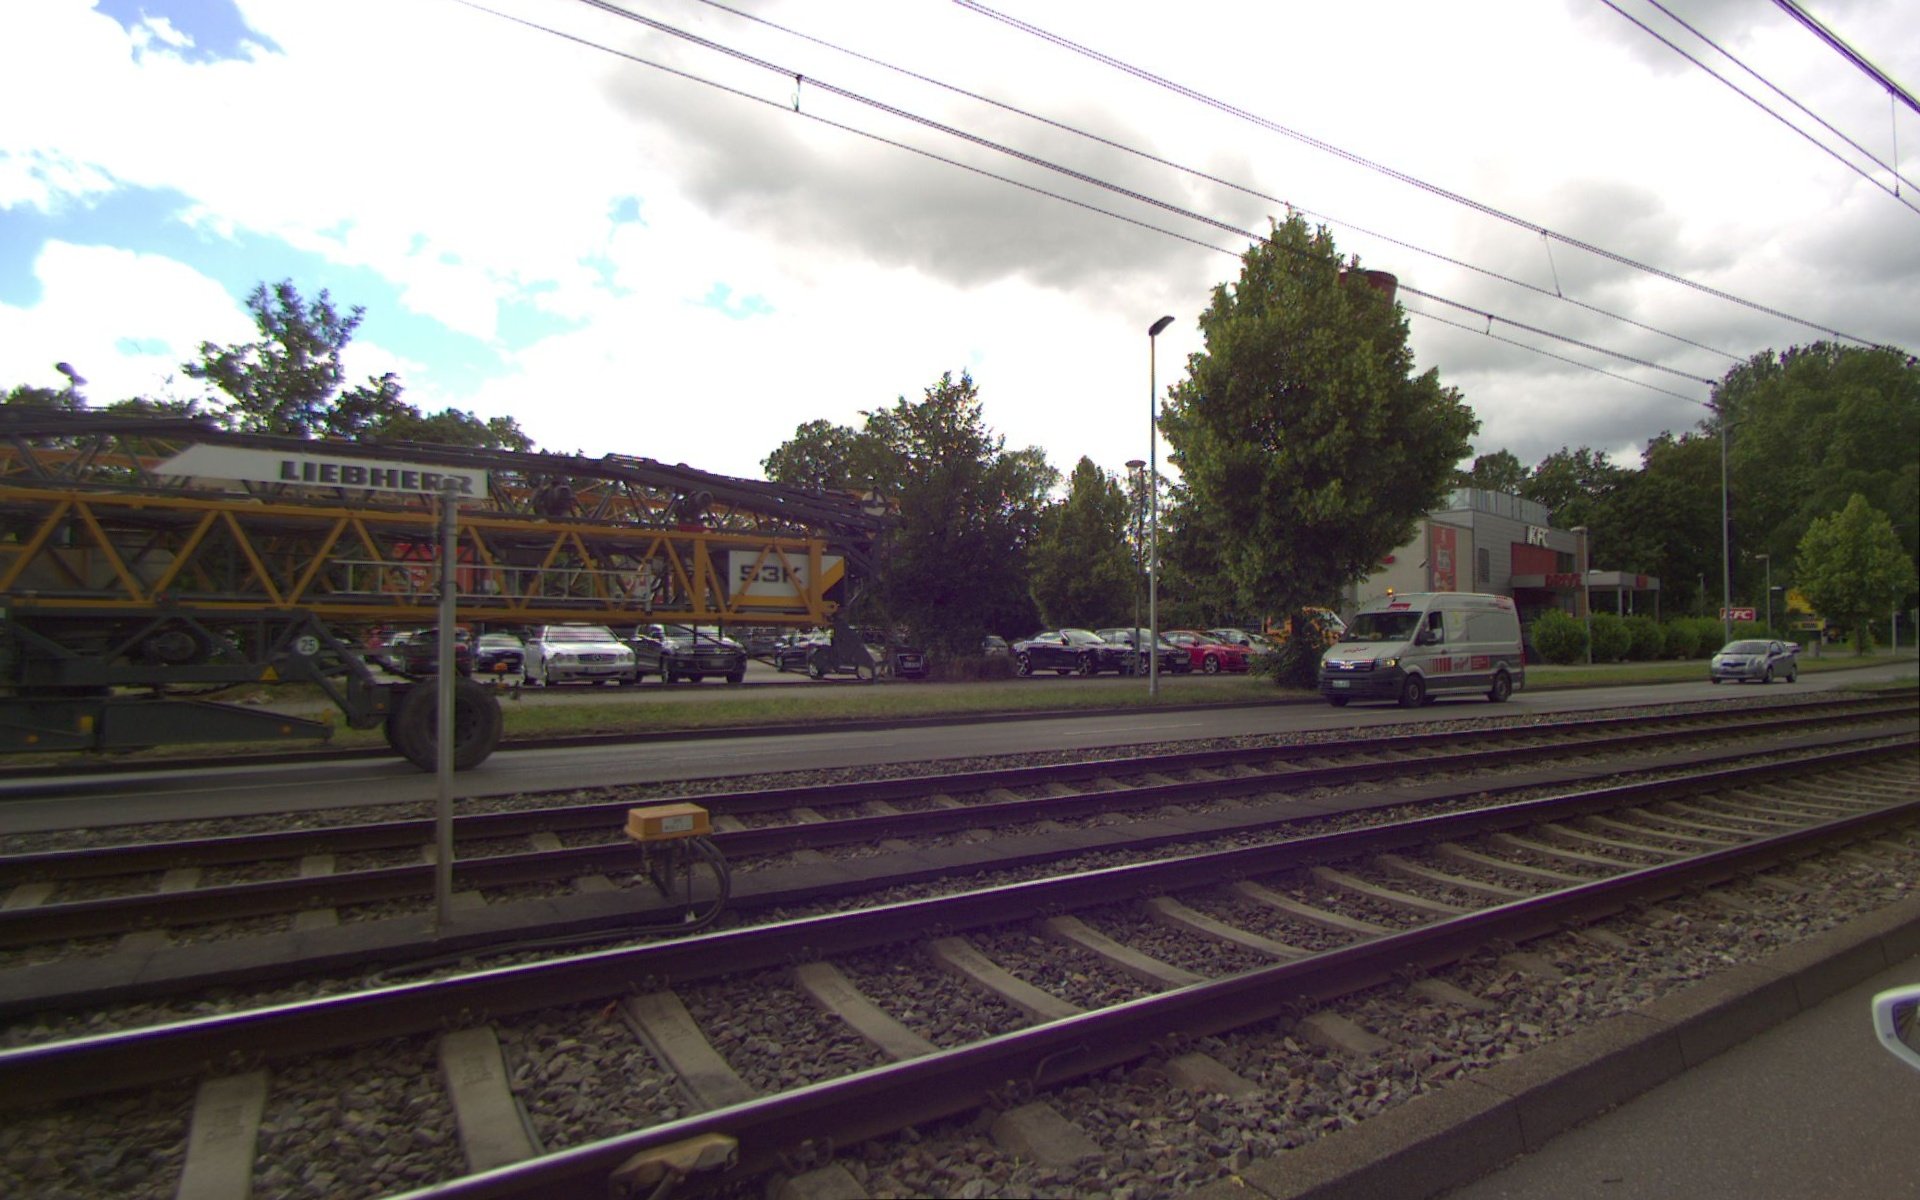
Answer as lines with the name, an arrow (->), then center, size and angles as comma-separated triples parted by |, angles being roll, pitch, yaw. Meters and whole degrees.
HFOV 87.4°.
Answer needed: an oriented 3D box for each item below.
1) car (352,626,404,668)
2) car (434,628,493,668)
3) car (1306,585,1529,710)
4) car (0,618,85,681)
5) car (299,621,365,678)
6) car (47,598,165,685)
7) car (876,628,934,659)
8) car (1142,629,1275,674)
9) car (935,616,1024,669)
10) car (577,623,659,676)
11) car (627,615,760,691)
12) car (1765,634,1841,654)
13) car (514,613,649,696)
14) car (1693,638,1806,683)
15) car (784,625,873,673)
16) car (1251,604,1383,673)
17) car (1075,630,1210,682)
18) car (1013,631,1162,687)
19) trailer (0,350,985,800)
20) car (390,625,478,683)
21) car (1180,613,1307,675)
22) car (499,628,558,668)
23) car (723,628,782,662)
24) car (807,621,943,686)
car -> -25.758, 2.054, 44.376 | 1.706, 1.644, 3.704 | 1, 0, -34
car -> -22.886, 2.170, 46.240 | 1.901, 1.644, 3.704 | 1, 0, -34
car -> 10.543, 1.085, 22.933 | 5.940, 2.531, 1.857 | 2, -4, -35
car -> -27.395, 1.426, 29.775 | 1.706, 1.644, 3.704 | 1, 0, -34
car -> -21.045, 1.606, 33.600 | 1.706, 1.644, 3.704 | 1, 0, -34
car -> -22.285, 1.031, 26.356 | 1.932, 2.040, 3.704 | 1, 0, -34
car -> -3.358, 2.597, 60.859 | 1.901, 1.644, 3.704 | 1, 0, -34
car -> 8.098, 1.651, 33.052 | 1.978, 1.252, 3.964 | 2, 0, -32
car -> 0.786, 1.766, 42.577 | 1.932, 2.040, 3.704 | 1, 0, -34
car -> -11.518, 1.632, 33.700 | 1.685, 1.669, 3.705 | 1, -3, -34
car -> -6.371, 1.176, 23.689 | 1.916, 1.527, 3.964 | 1, 0, -32
car -> 61.404, 3.169, 73.196 | 1.827, 1.426, 3.857 | 1, -2, -33
car -> -8.328, 1.120, 21.914 | 1.980, 1.527, 3.964 | 1, 0, -32
car -> 27.966, 2.147, 35.561 | 3.958, 1.502, 1.982 | 2, -4, -34
car -> -4.930, 1.810, 37.293 | 1.807, 1.669, 3.705 | 1, -3, -34
car -> 12.550, 1.313, 35.523 | 2.036, 2.194, 3.964 | 1, 0, -33
car -> 5.744, 1.737, 32.020 | 2.071, 1.385, 3.964 | 2, 0, -33
car -> 3.735, 1.709, 30.192 | 2.172, 1.372, 4.348 | 2, 0, -32
trailer -> -6.337, -0.080, 11.733 | 14.270, 3.947, 2.657 | 2, -4, -33
car -> -15.946, 1.573, 30.352 | 1.932, 1.510, 3.704 | 1, 0, -34
car -> 9.814, 1.487, 35.042 | 1.978, 1.944, 3.964 | 1, 0, -32
car -> -20.498, 2.236, 47.640 | 1.901, 1.644, 3.704 | 1, 0, -34
car -> -11.326, 2.425, 54.668 | 1.901, 1.644, 3.704 | 1, 0, -34
car -> -2.295, 1.335, 26.275 | 1.916, 1.440, 3.964 | 1, 0, -32
